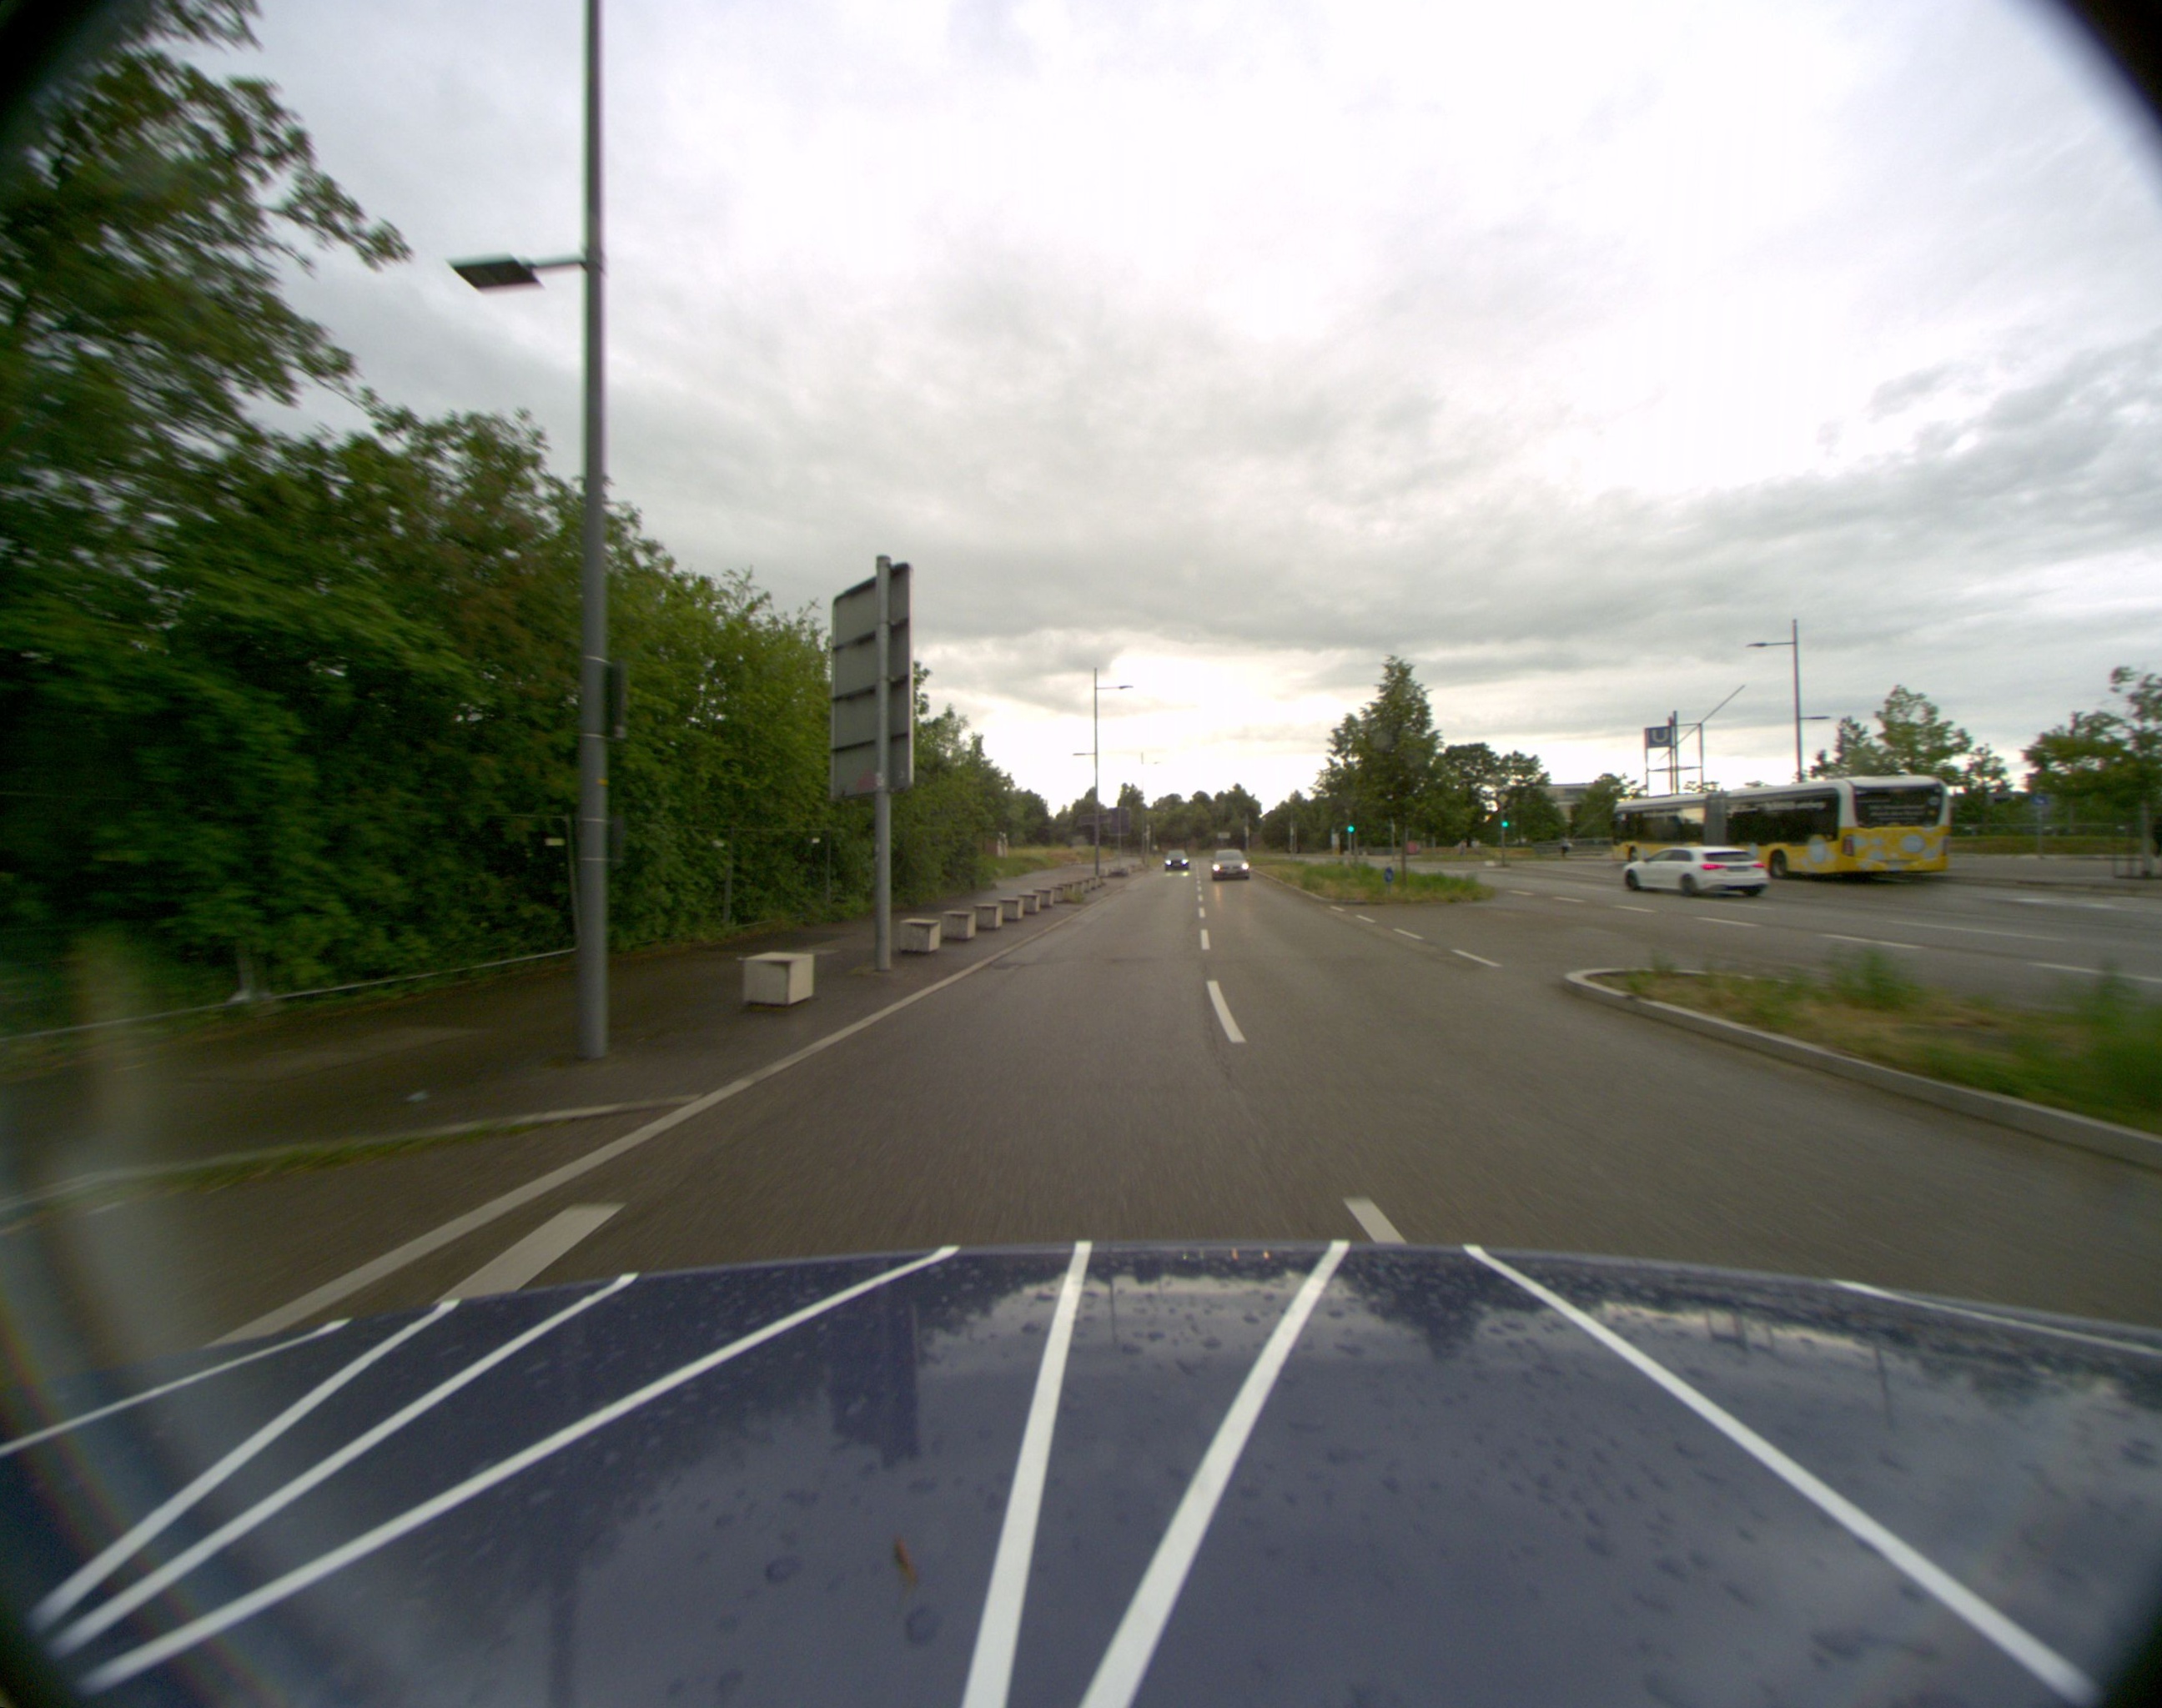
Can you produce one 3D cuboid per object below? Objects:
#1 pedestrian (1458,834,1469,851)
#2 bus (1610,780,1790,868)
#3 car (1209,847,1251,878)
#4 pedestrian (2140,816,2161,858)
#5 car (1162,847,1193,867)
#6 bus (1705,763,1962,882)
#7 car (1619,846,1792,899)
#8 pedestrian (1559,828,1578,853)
[{"bbox_3d":[35.105,-1.042,69.704,0.615,1.584,0.813,-1,-1,4],"label":"pedestrian"},{"bbox_3d":[28.534,-1.361,35.788,2.825,3.453,9.983,-2,1,16],"label":"bus"},{"bbox_3d":[7.432,0.392,38.134,1.809,1.421,4.200,-2,0,8],"label":"car"},{"bbox_3d":[39.093,-0.615,27.515,0.490,1.520,0.665,-1,-1,3],"label":"pedestrian"},{"bbox_3d":[7.156,0.256,56.650,1.989,1.391,4.178,-1,-1,4],"label":"car"},{"bbox_3d":[25.974,-1.060,26.962,2.825,3.453,8.238,-2,1,16],"label":"bus"},{"bbox_3d":[18.515,0.480,22.844,1.997,1.410,4.515,-1,1,9],"label":"car"},{"bbox_3d":[32.889,-0.910,51.253,0.822,1.584,0.673,-1,-1,-13],"label":"pedestrian"}]
